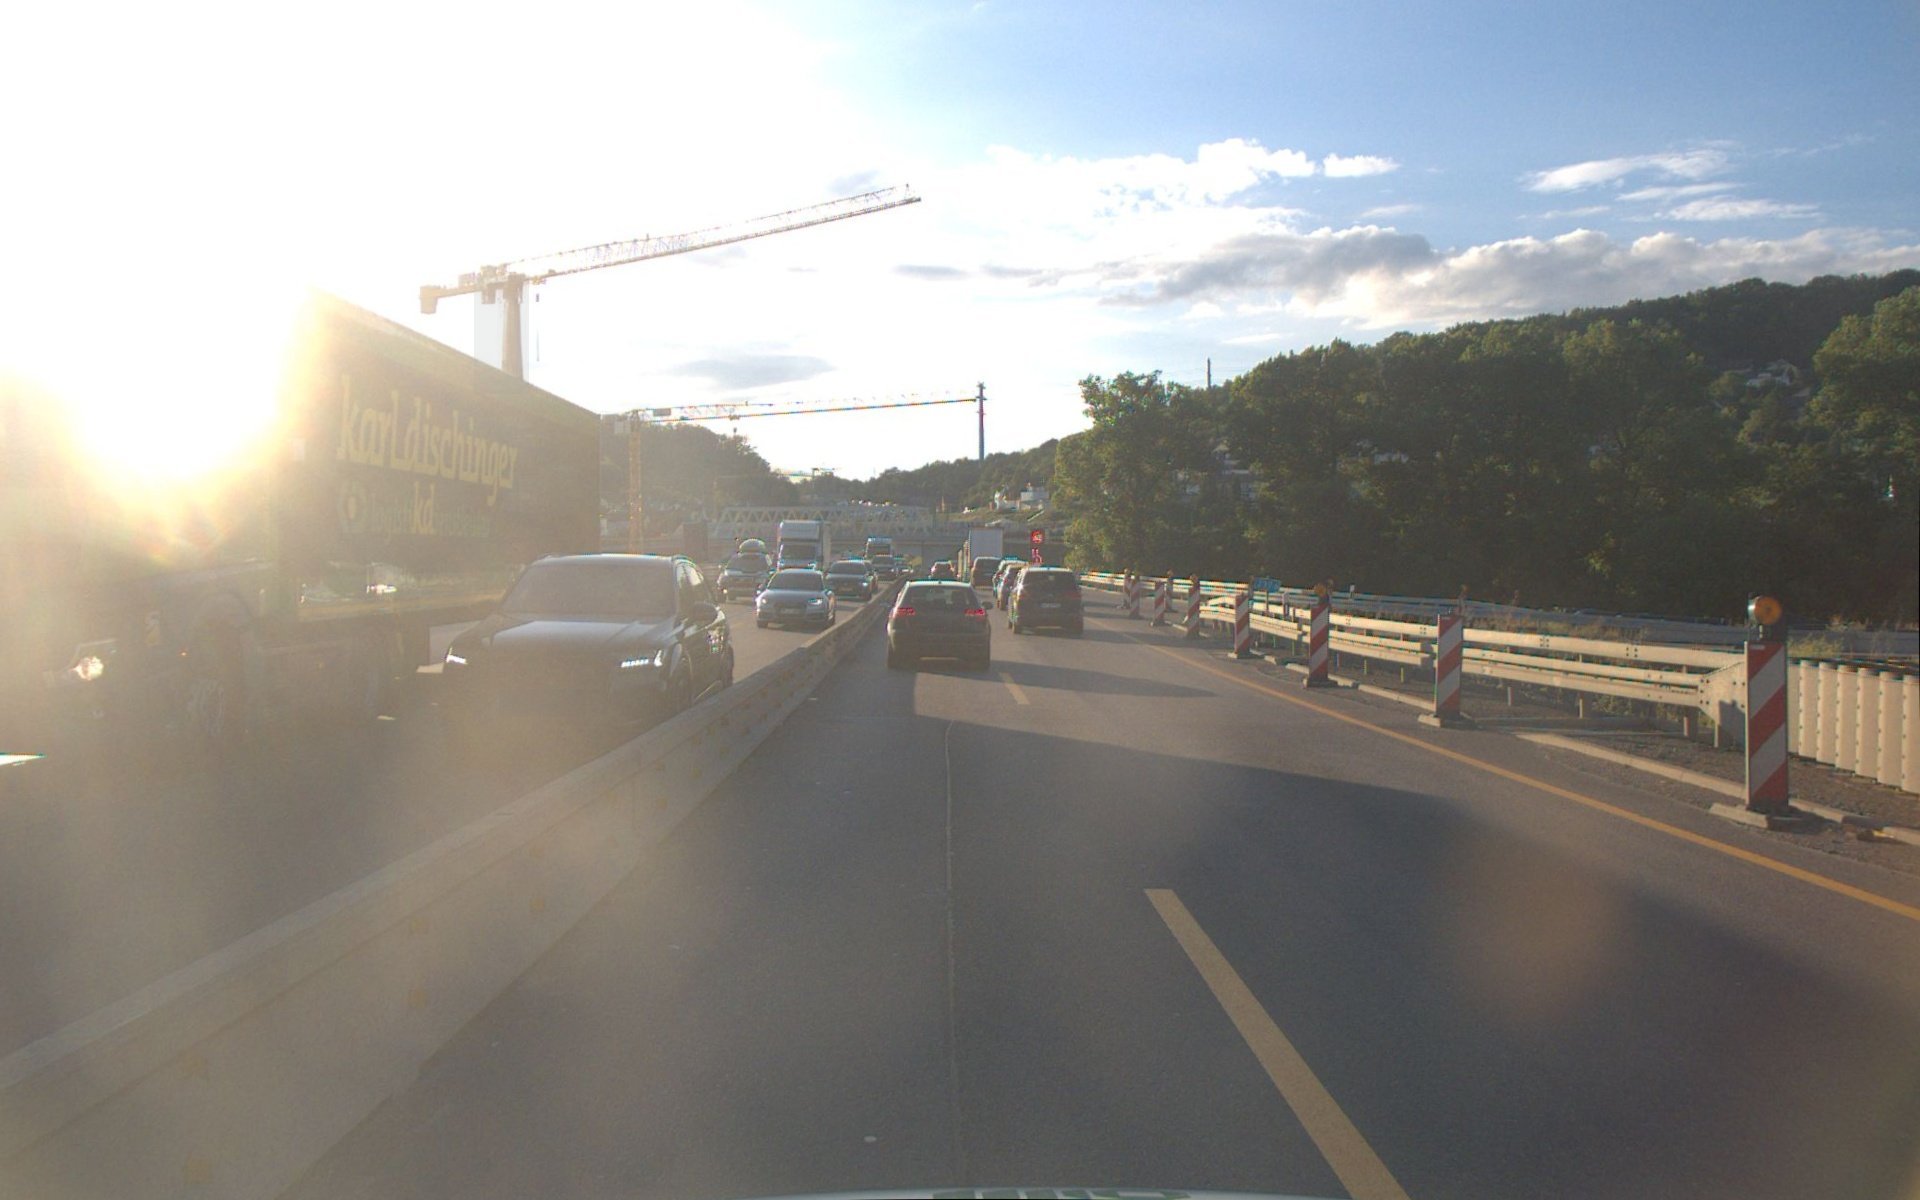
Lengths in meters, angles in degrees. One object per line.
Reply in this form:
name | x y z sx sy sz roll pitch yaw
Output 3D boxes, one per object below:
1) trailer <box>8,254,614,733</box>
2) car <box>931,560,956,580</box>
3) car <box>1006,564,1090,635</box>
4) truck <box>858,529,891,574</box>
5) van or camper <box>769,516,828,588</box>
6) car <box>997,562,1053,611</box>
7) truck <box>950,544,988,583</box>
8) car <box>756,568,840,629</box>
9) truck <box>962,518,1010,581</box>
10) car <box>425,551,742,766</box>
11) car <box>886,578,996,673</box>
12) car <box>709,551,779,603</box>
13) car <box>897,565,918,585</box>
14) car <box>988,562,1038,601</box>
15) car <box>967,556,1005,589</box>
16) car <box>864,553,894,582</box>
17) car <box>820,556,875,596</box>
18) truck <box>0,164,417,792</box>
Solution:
trailer | -7.077 -0.996 21.252 2.718 4.101 13.678 1 1 -2
car | -1.286 -2.280 127.398 1.825 1.445 4.000 2 1 -1
car | 2.200 -0.063 42.370 1.776 1.643 4.525 0 2 -2
truck | -8.067 -4.527 156.233 2.756 4.119 5.673 0 1 0
van or camper | -8.286 -2.479 85.541 2.408 3.559 7.413 1 1 -1
car | 2.237 -0.499 57.955 1.738 1.613 4.135 1 1 0
truck | 1.058 -4.586 207.530 3.813 4.576 13.842 1 1 -3
car | -4.181 -0.057 43.219 1.823 1.457 4.154 1 1 -1
truck | 1.944 -4.037 130.132 3.316 4.575 15.269 1 2 0
car | -3.198 0.463 15.007 1.873 1.637 4.494 1 0 -1
car | -0.381 0.374 28.301 1.734 1.414 3.999 1 2 -2
car | -7.805 -0.832 60.118 1.953 1.795 4.440 1 1 -1
car | -4.384 -2.085 137.422 1.731 1.561 3.998 1 1 -2
car | 2.264 -0.798 71.523 1.837 1.627 4.964 1 0 -2
car | 1.335 -1.433 86.248 1.778 1.661 4.410 1 1 -1
car | -4.901 -1.980 100.494 1.790 1.668 4.529 0 1 -2
car | -4.426 -0.935 65.636 1.778 1.488 4.706 1 0 1
truck | -6.869 -0.864 13.864 2.713 4.152 5.775 1 1 -1
